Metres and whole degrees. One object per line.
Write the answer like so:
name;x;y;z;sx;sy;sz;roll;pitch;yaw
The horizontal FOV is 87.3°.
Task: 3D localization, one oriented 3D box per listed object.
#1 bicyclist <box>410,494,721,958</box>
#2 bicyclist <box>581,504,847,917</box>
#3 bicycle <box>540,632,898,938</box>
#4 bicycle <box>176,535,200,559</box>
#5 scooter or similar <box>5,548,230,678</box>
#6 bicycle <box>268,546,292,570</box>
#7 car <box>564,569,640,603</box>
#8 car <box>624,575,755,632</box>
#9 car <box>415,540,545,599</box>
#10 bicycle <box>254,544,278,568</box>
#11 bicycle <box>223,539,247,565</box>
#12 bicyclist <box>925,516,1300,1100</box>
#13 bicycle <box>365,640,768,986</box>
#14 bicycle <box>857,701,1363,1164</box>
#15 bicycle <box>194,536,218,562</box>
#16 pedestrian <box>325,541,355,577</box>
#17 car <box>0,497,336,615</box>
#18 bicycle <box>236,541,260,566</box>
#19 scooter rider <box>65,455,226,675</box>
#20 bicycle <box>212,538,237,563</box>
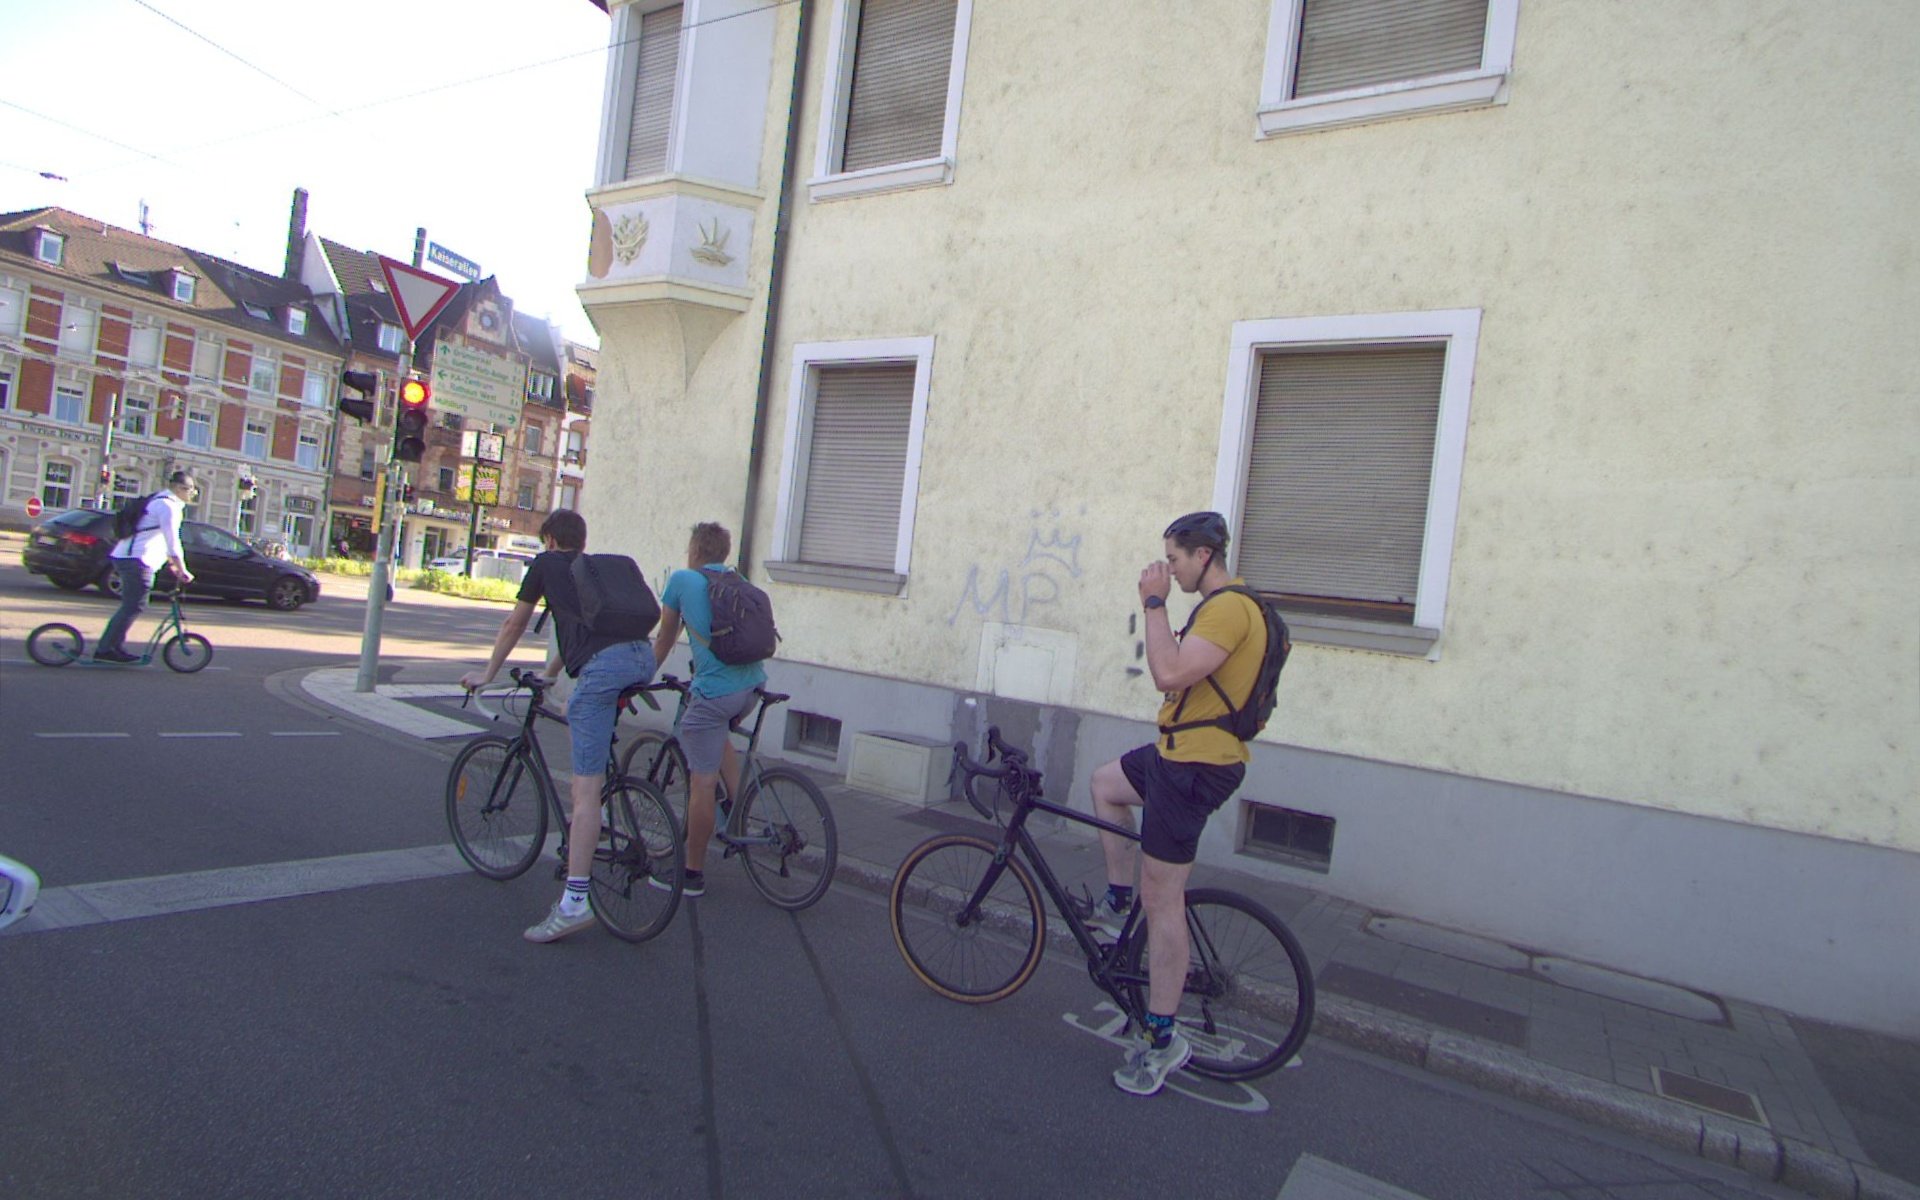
bicyclist;-1.751;0.493;4.476;0.978;1.788;0.652;7;0;32
bicyclist;-1.287;0.525;5.277;0.978;1.910;0.652;7;0;32
bicycle;-1.311;0.878;5.287;1.858;1.180;0.571;7;0;32
bicycle;-35.068;-2.421;45.669;1.759;0.925;0.485;7;0;42
scooter or similar;-7.809;0.155;9.386;0.556;1.056;1.433;7;-1;31
bicycle;-33.094;-2.065;48.983;1.759;1.033;0.485;7;0;42
car;-23.176;-0.895;65.235;1.966;1.641;4.261;7;-1;29
car;-9.397;0.183;35.362;1.710;1.490;4.685;7;-1;25
car;-22.017;-1.370;46.327;1.967;2.037;4.988;7;-1;31
bicycle;-33.314;-2.122;48.295;1.759;1.033;0.485;7;0;42
bicycle;-34.005;-2.257;47.175;1.759;1.033;0.485;7;0;42
bicyclist;0.575;0.674;3.785;1.019;1.839;0.652;7;0;32
bicycle;-1.800;0.836;4.474;1.858;1.071;0.571;7;0;32
bicycle;0.512;1.091;3.779;1.670;1.180;0.571;7;0;32
bicycle;-34.643;-2.348;46.206;1.759;1.033;0.485;7;0;42
pedestrian;-33.413;-2.209;54.219;0.620;1.731;1.035;6;-1;40
car;-13.476;-0.664;17.393;1.616;1.397;4.284;7;-1;25
bicycle;-33.677;-2.199;47.567;1.759;1.033;0.485;7;0;42
scooter rider;-7.678;-0.316;9.495;0.784;1.935;0.796;7;0;31
bicycle;-34.191;-2.299;46.751;1.759;1.033;0.485;7;0;42
